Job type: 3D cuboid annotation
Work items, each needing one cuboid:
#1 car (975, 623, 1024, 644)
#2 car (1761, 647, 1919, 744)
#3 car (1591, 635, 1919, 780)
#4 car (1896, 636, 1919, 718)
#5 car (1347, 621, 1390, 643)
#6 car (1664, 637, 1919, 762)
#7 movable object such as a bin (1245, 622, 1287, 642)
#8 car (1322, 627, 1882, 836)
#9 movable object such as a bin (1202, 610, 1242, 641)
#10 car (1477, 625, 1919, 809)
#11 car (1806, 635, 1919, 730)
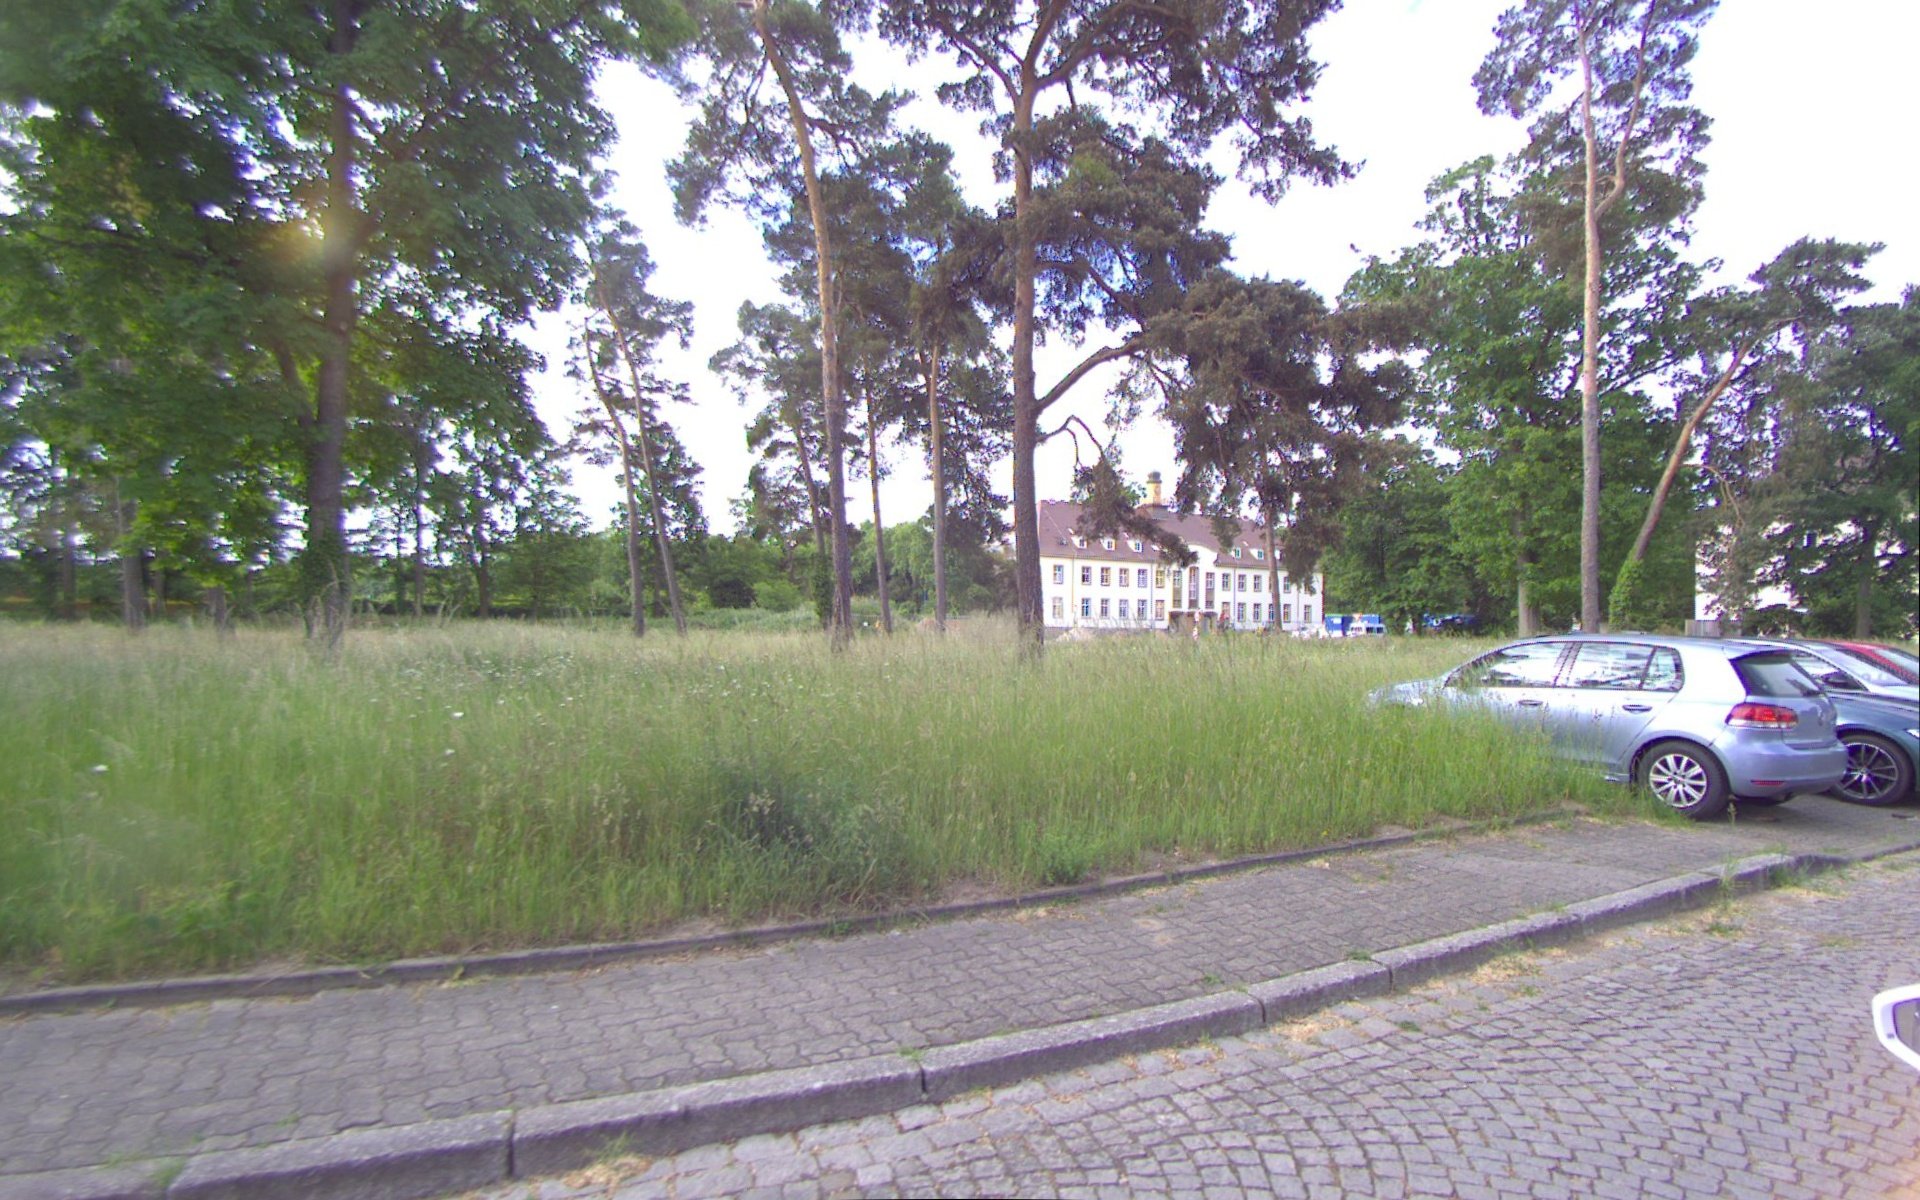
[{"bbox_3d":[4.430,3.768,113.440,2.351,2.143,5.760,3,-3,-39],"label":"car"},{"bbox_3d":[14.529,1.421,14.670,1.743,1.300,4.112,1,-1,-30],"label":"car"},{"bbox_3d":[10.549,1.226,12.294,1.926,1.474,4.417,2,-1,-29],"label":"car"},{"bbox_3d":[19.320,1.428,17.369,1.709,1.500,4.287,1,-1,-28],"label":"car"},{"bbox_3d":[42.816,3.351,105.285,4.296,2.122,2.052,3,-3,-31],"label":"car"},{"bbox_3d":[12.388,1.298,13.676,1.833,1.474,4.234,1,-1,-30],"label":"car"},{"bbox_3d":[36.375,3.813,119.370,2.348,2.283,4.494,3,-2,-25],"label":"movable object such as a bin"},{"bbox_3d":[5.900,1.062,9.853,1.805,1.490,4.311,2,-1,-29],"label":"car"},{"bbox_3d":[32.256,3.147,123.697,2.105,3.689,6.121,2,-2,-13],"label":"movable object such as a bin"},{"bbox_3d":[8.295,1.100,10.893,1.851,1.557,4.475,2,-1,-33],"label":"car"},{"bbox_3d":[16.628,1.371,16.341,1.734,1.500,4.070,1,-1,-29],"label":"car"}]
